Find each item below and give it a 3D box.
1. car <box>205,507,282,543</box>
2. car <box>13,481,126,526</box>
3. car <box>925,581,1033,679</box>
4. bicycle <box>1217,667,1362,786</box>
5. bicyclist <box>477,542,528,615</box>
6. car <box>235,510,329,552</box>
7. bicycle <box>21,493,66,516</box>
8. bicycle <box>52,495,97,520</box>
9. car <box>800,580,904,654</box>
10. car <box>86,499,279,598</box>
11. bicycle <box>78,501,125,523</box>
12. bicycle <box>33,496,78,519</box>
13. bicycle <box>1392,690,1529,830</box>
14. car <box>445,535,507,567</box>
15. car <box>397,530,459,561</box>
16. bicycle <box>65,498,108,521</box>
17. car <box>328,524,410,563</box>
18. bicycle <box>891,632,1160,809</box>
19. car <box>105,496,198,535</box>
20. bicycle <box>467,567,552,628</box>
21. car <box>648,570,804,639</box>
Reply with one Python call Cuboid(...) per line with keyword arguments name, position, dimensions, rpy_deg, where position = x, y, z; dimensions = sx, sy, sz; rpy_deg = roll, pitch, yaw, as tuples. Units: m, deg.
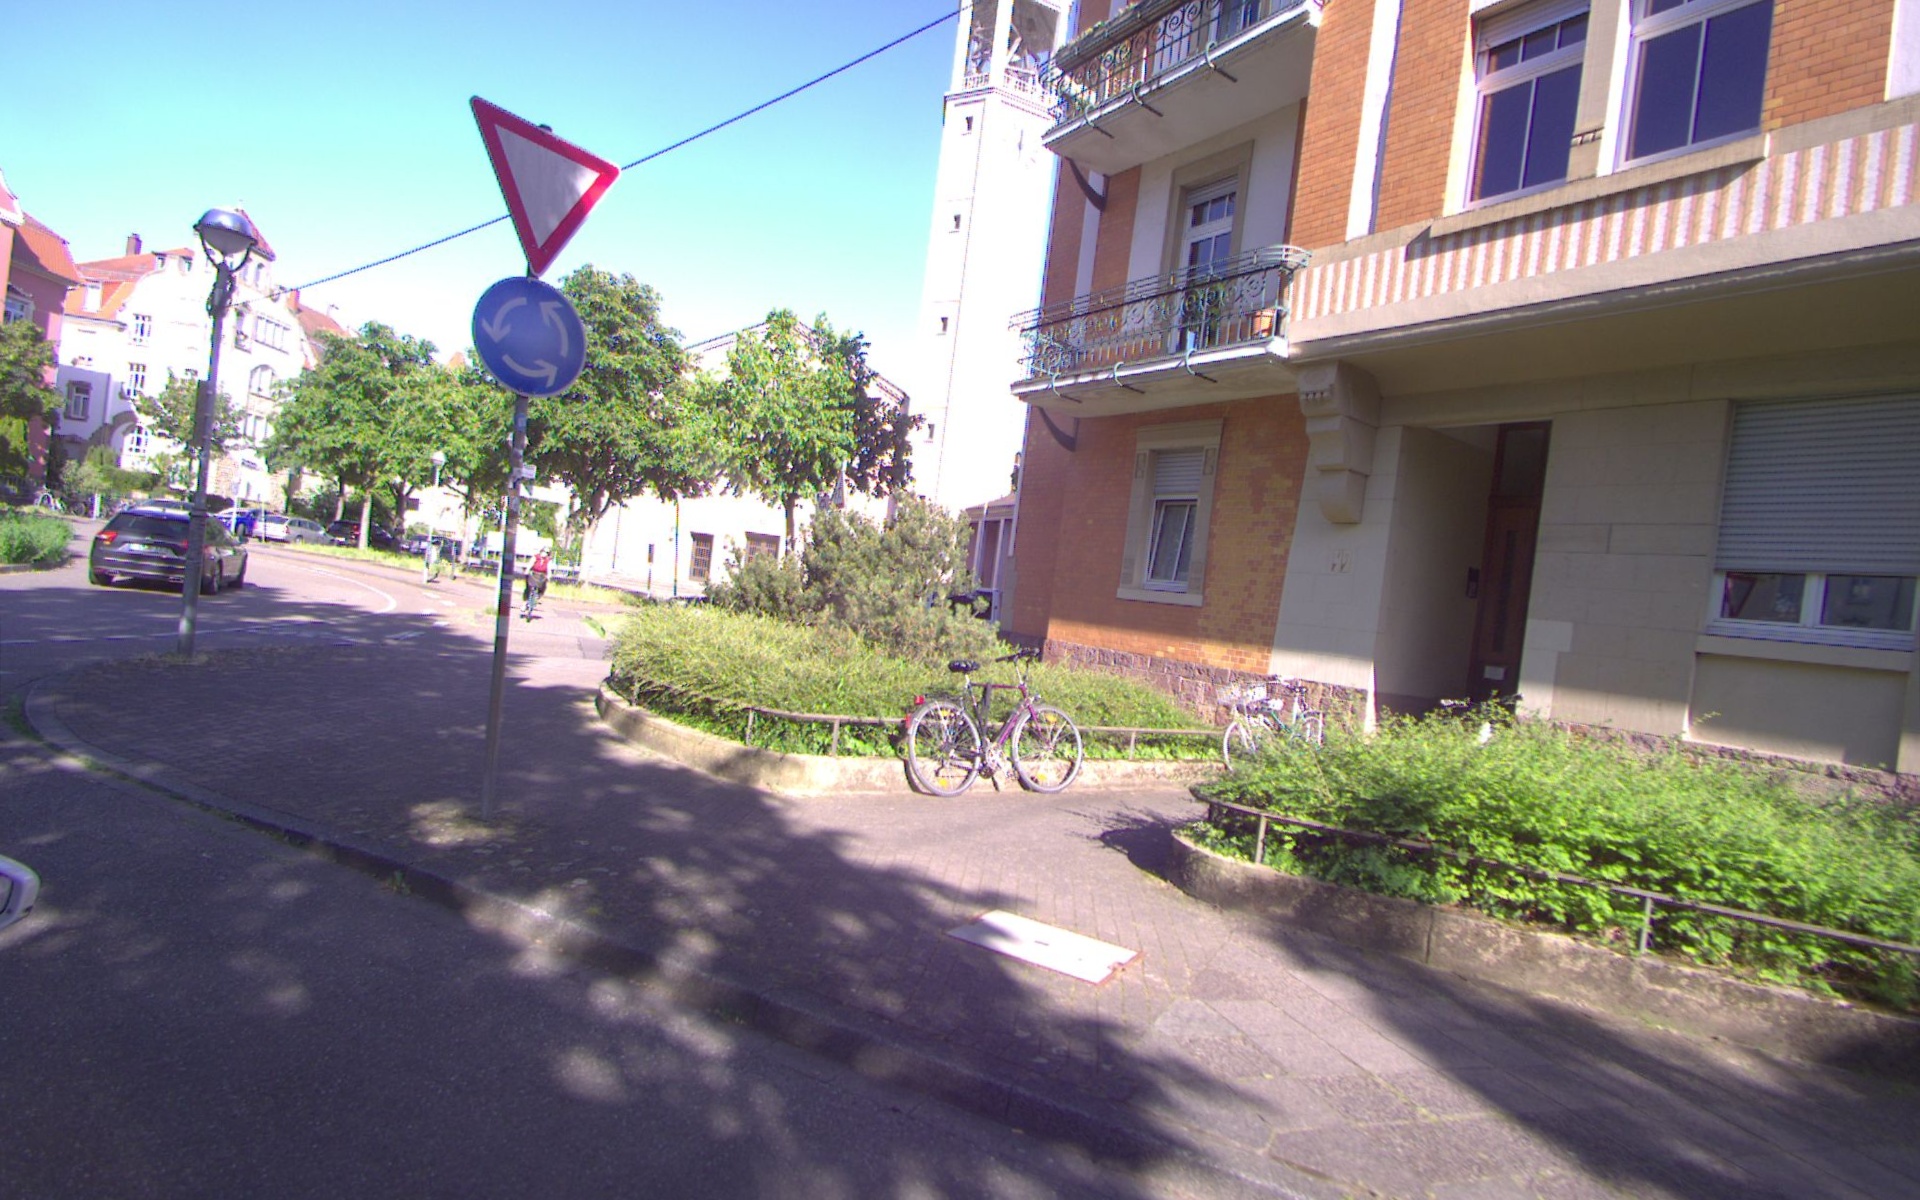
Cuboid(name="car", position=(-39.211, -4.101, 55.165), dimensions=(1.641, 1.506, 3.475), rpy_deg=(7, 0, -2))
Cuboid(name="car", position=(-38.753, -4.172, 43.887), dimensions=(1.728, 1.386, 3.641), rpy_deg=(7, 0, -4))
Cuboid(name="car", position=(0.588, 0.740, 25.495), dimensions=(1.962, 2.038, 4.002), rpy_deg=(7, 0, 9))
Cuboid(name="bicycle", position=(3.313, 1.280, 10.038), dimensions=(1.669, 1.074, 0.384), rpy_deg=(7, 1, -37))
Cuboid(name="bicyclist", position=(-9.595, -0.449, 21.109), dimensions=(0.728, 1.434, 0.510), rpy_deg=(7, 1, 28))
Cuboid(name="car", position=(-31.398, -3.179, 46.738), dimensions=(1.531, 1.473, 3.976), rpy_deg=(7, 0, 0))
Cuboid(name="bicycle", position=(-42.515, -4.445, 46.676), dimensions=(1.990, 0.810, 0.479), rpy_deg=(7, 1, 14))
Cuboid(name="bicycle", position=(-42.148, -4.386, 47.879), dimensions=(2.243, 0.926, 0.479), rpy_deg=(7, 1, 19))
Cuboid(name="car", position=(-2.550, 0.419, 24.500), dimensions=(1.542, 1.491, 3.516), rpy_deg=(7, 0, 8))
Cuboid(name="car", position=(-14.809, -0.976, 19.427), dimensions=(1.696, 1.501, 4.123), rpy_deg=(7, 0, -21))
Cuboid(name="bicycle", position=(-42.375, -4.343, 49.650), dimensions=(2.243, 0.795, 0.626), rpy_deg=(7, 1, 19))
Cuboid(name="bicycle", position=(-42.576, -4.344, 47.361), dimensions=(2.243, 0.810, 0.479), rpy_deg=(7, 1, 19))
Cuboid(name="bicycle", position=(4.261, 1.359, 8.522), dimensions=(1.550, 1.074, 0.268), rpy_deg=(7, 1, -37))
Cuboid(name="car", position=(-28.909, -2.904, 60.224), dimensions=(1.763, 1.473, 3.782), rpy_deg=(7, 0, 0))
Cuboid(name="car", position=(-31.797, -3.215, 60.221), dimensions=(1.630, 1.454, 3.457), rpy_deg=(7, 0, 1))
Cuboid(name="bicycle", position=(-42.543, -4.413, 48.975), dimensions=(2.243, 0.833, 0.479), rpy_deg=(7, 1, 19))
Cuboid(name="car", position=(-27.989, -2.650, 47.784), dimensions=(1.531, 1.473, 3.737), rpy_deg=(7, 0, 0))
Cuboid(name="bicycle", position=(0.566, 0.944, 7.662), dimensions=(2.211, 1.174, 0.384), rpy_deg=(7, 0, -37))
Cuboid(name="car", position=(-39.346, -4.094, 49.073), dimensions=(1.729, 1.386, 3.640), rpy_deg=(7, 0, -7))
Cuboid(name="bicycle", position=(-9.405, -0.061, 20.979), dimensions=(1.842, 1.049, 0.508), rpy_deg=(7, 1, 28))
Cuboid(name="car", position=(-6.683, 0.133, 28.794), dimensions=(3.953, 1.404, 1.730), rpy_deg=(8, 0, -27))
